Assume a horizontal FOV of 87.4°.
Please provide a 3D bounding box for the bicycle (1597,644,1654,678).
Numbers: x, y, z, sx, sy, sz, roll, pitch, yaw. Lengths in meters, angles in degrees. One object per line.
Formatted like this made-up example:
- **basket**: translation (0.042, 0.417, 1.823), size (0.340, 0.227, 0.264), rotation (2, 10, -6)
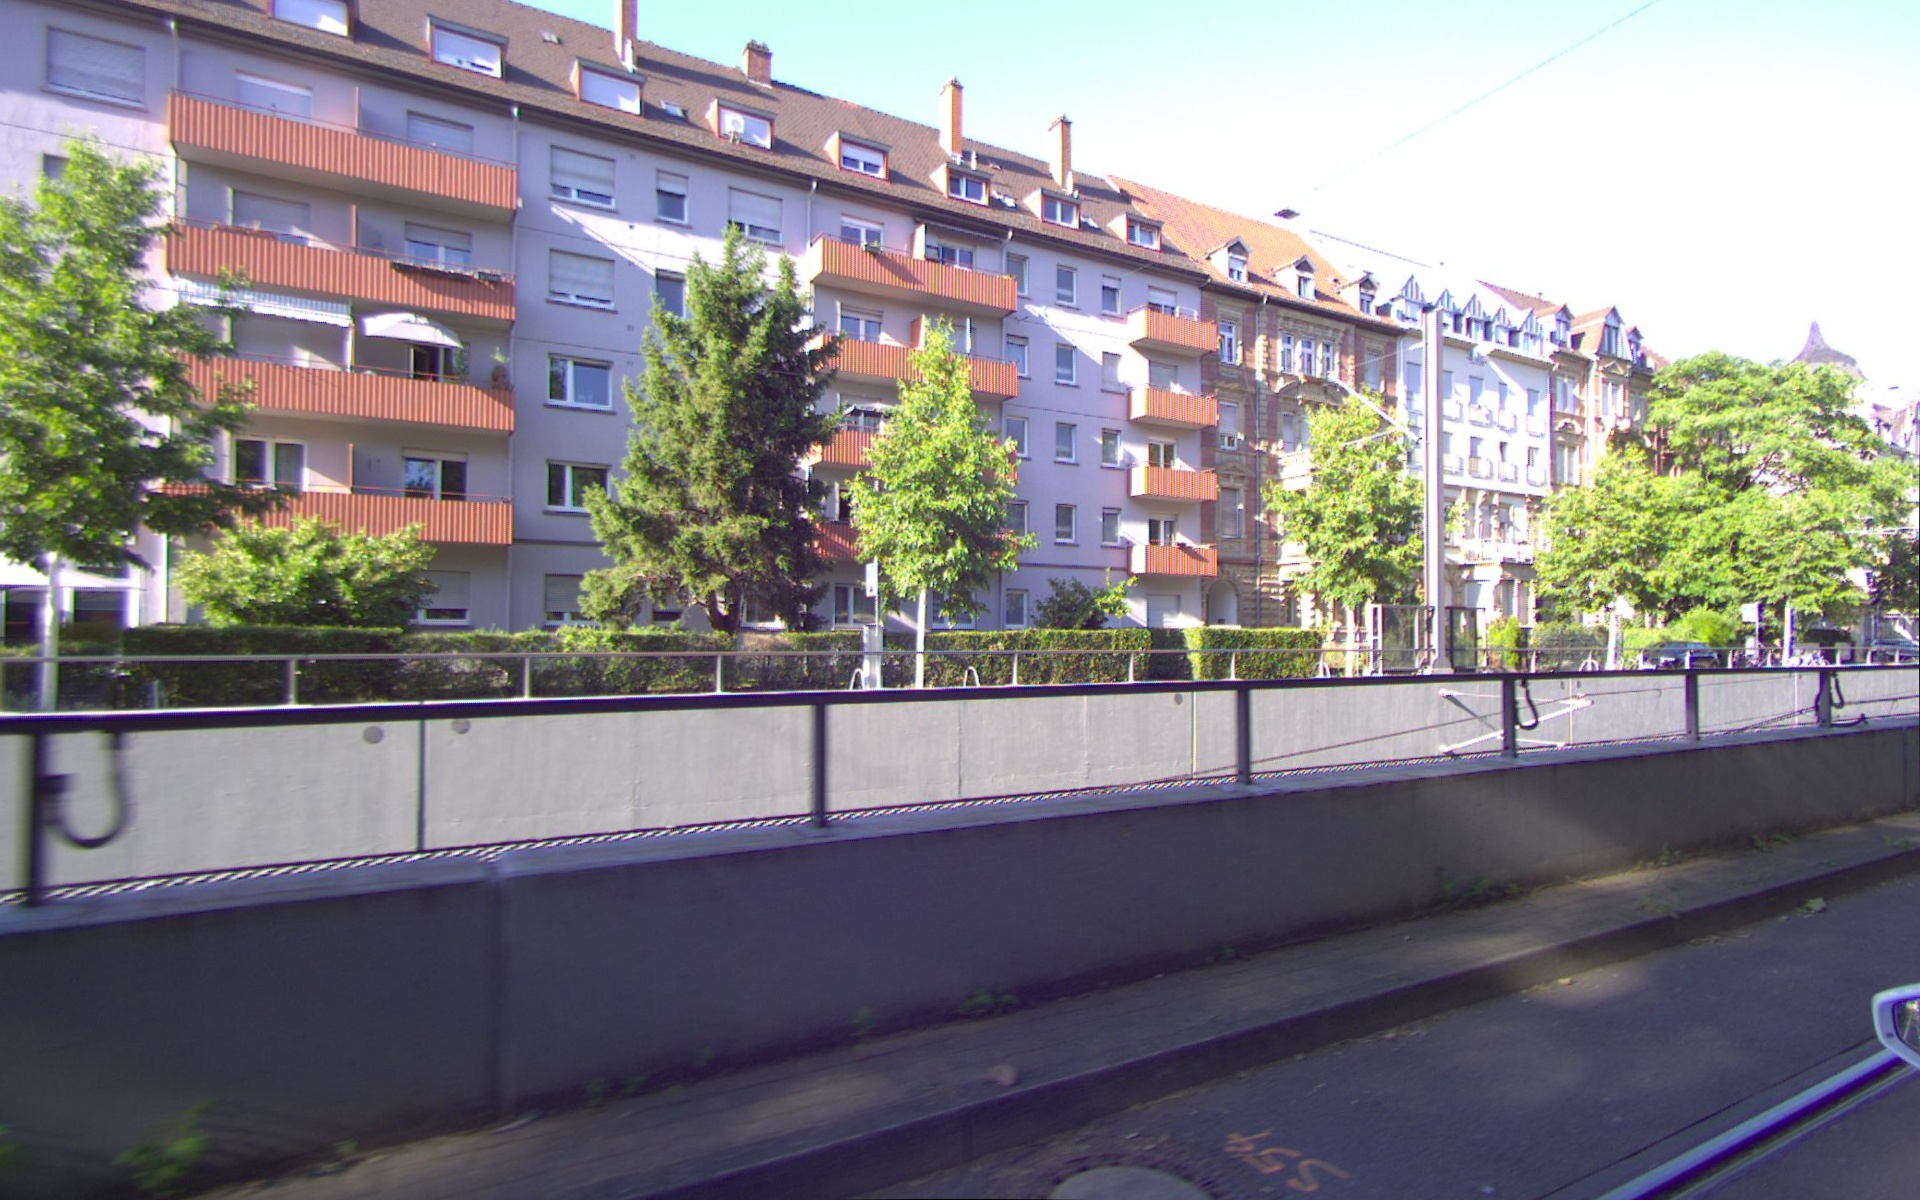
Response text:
- **bicycle**: translation (26.013, 2.360, 39.287), size (0.555, 1.194, 1.801), rotation (1, 1, -27)

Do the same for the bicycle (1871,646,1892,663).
- **bicycle**: translation (55.433, 3.284, 60.451), size (0.447, 1.018, 1.942), rotation (2, -3, 29)

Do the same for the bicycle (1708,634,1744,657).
- **bicycle**: translation (38.789, 2.277, 50.848), size (2.348, 1.113, 0.552), rotation (1, 1, -31)

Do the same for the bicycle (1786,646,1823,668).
- **bicycle**: translation (40.049, 2.693, 47.653), size (1.246, 0.917, 0.538), rotation (2, 1, 30)

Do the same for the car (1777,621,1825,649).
- **car**: translation (59.153, 2.420, 70.606), size (4.447, 1.874, 1.975), rotation (1, 1, -42)

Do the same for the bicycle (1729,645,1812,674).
- **bicycle**: translation (35.980, 2.645, 44.634), size (2.736, 1.113, 0.642), rotation (2, 1, 28)

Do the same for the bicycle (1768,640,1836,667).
- **bicycle**: translation (39.578, 2.522, 47.256), size (2.333, 1.113, 0.556), rotation (2, 1, 30)

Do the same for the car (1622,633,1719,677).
- **car**: translation (28.753, 2.177, 40.638), size (3.956, 1.606, 1.822), rotation (1, 1, -32)

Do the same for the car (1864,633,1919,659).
- **car**: translation (65.705, 3.200, 69.842), size (1.809, 1.646, 3.956), rotation (1, 0, -38)
